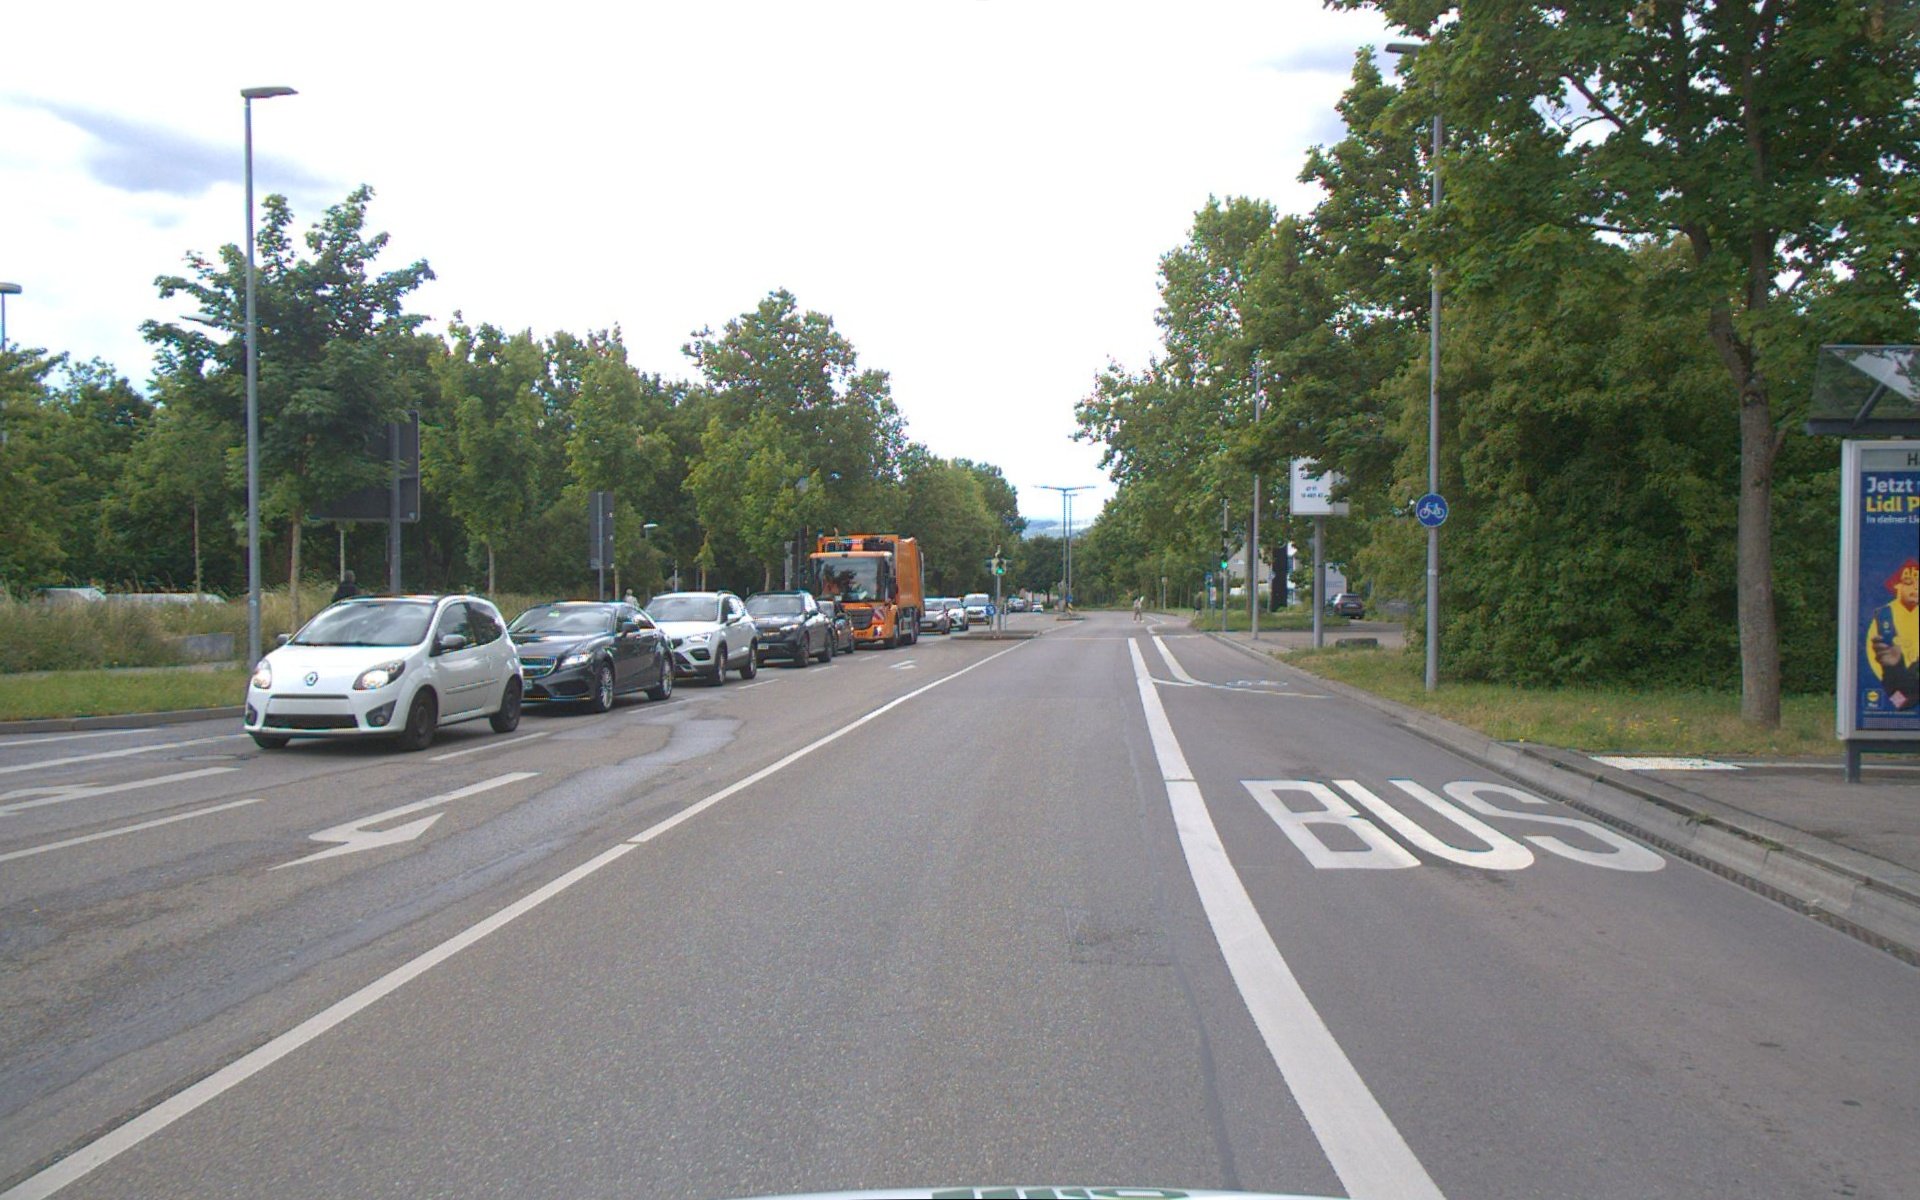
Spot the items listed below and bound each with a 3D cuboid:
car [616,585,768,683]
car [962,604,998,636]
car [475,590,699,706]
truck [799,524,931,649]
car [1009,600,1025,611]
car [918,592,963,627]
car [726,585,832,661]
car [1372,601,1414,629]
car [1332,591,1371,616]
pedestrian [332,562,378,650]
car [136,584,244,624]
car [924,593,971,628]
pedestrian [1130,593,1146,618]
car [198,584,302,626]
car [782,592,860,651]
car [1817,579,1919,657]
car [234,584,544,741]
[{"bbox_3d":[-4.678,0.558,29.405,1.694,1.613,4.226,0,0,5],"label":"car"},{"bbox_3d":[1.222,1.177,98.622,1.807,1.835,4.652,-2,-1,4],"label":"car"},{"bbox_3d":[-4.949,0.585,22.677,1.605,1.415,4.888,0,0,5],"label":"car"},{"bbox_3d":[-2.799,-0.386,52.151,2.648,3.548,10.001,0,0,5],"label":"truck"},{"bbox_3d":[7.034,0.645,203.928,1.734,1.327,4.002,0,0,5],"label":"car"},{"bbox_3d":[-0.812,0.405,69.739,1.514,1.354,3.656,-2,-1,5],"label":"car"},{"bbox_3d":[-3.978,0.481,36.923,1.605,1.613,4.063,0,0,5],"label":"car"},{"bbox_3d":[25.038,0.836,95.812,1.674,1.534,4.347,2,0,6],"label":"car"},{"bbox_3d":[22.667,0.218,95.907,1.674,1.378,4.347,0,0,6],"label":"car"},{"bbox_3d":[-13.054,0.127,35.678,0.706,1.868,0.678,0,-1,5],"label":"pedestrian"},{"bbox_3d":[-41.283,0.217,88.712,4.863,2.049,2.001,-1,-1,3],"label":"car"},{"bbox_3d":[-0.558,0.506,77.854,1.807,1.547,4.817,-2,-1,4],"label":"car"},{"bbox_3d":[10.807,0.325,100.603,0.775,1.489,0.746,0,-1,-14],"label":"pedestrian"},{"bbox_3d":[-39.503,0.283,92.079,4.864,2.229,2.000,-1,-1,1],"label":"car"},{"bbox_3d":[-3.615,0.551,43.591,1.403,1.483,3.897,0,0,5],"label":"car"},{"bbox_3d":[29.388,0.548,51.640,1.970,2.367,4.389,0,-1,-26],"label":"car"},{"bbox_3d":[-5.662,0.566,16.888,1.605,1.415,3.764,0,0,5],"label":"car"}]
